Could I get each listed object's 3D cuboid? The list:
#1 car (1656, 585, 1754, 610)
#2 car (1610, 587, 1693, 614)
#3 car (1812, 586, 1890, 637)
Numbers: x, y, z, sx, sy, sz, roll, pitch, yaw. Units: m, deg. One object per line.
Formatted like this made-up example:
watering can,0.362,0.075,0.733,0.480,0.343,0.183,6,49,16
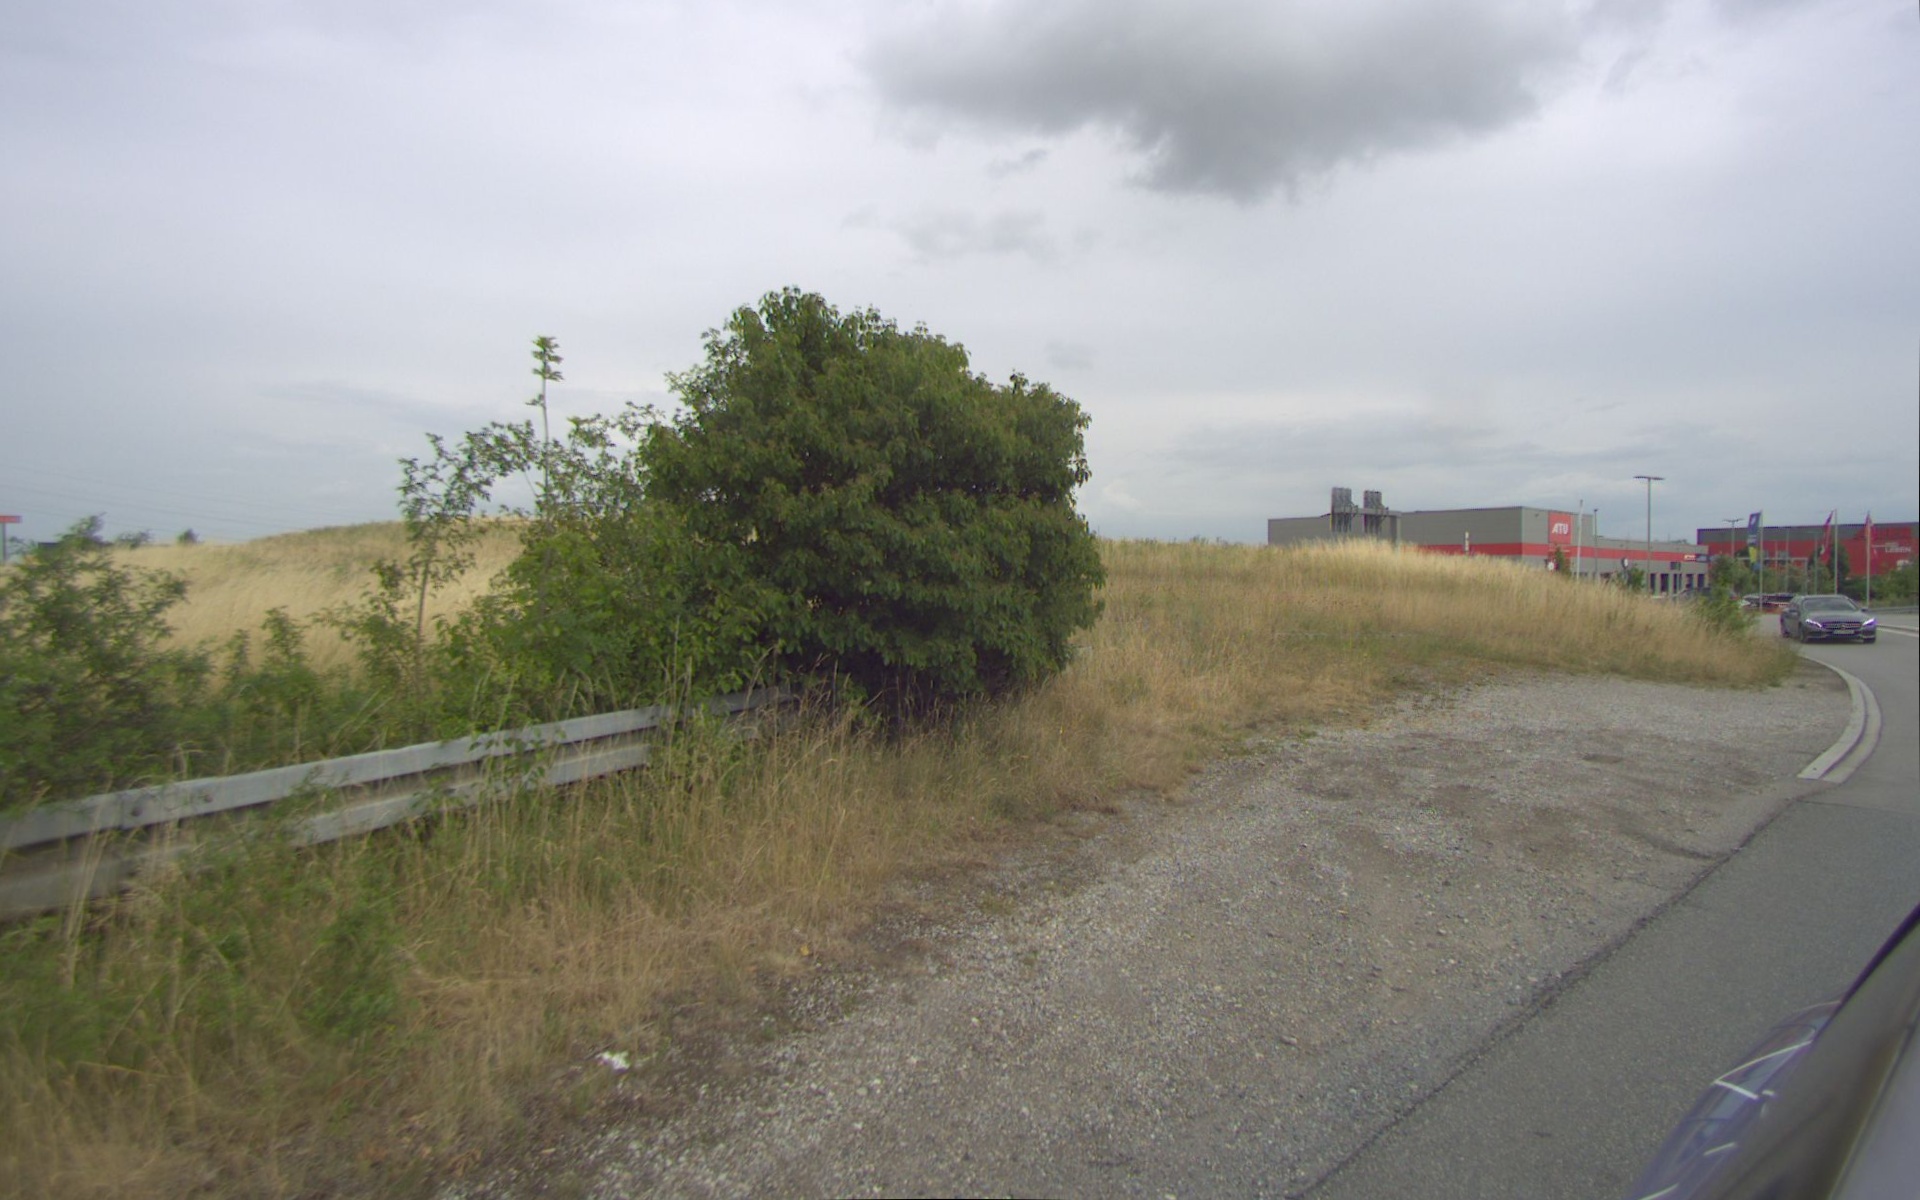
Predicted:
car,44.756,-0.167,60.908,4.518,1.430,1.841,-1,0,30
car,53.845,0.009,78.846,1.966,2.073,5.067,0,0,-43
car,28.332,0.338,32.270,1.757,1.438,4.032,-2,1,40
